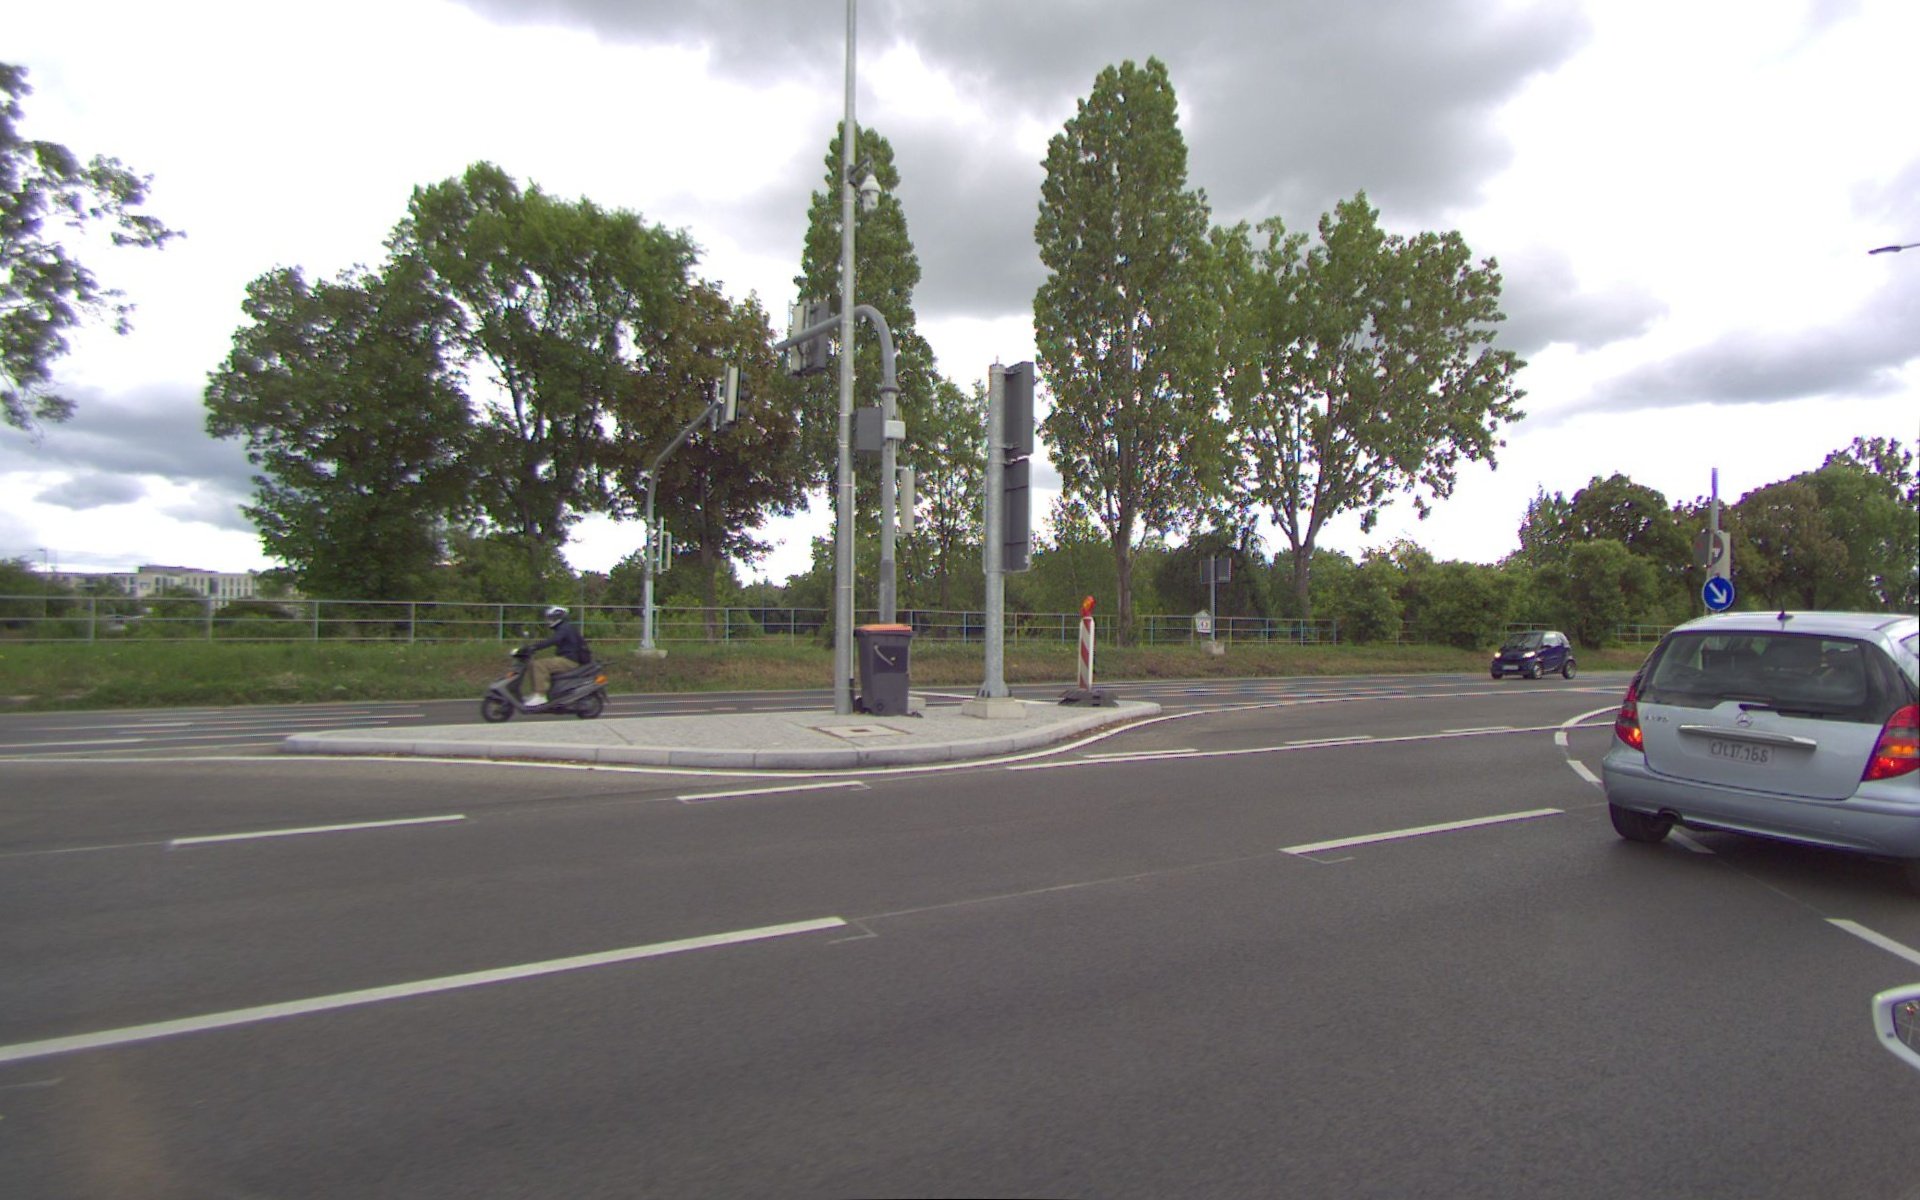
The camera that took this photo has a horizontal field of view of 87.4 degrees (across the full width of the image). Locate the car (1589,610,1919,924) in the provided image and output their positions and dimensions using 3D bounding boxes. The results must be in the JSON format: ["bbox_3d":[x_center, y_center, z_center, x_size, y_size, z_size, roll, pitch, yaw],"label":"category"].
[{"bbox_3d":[6.203,0.875,6.790,3.954,1.550,1.701,1,1,-31],"label":"car"}]

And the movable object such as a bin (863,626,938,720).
[{"bbox_3d":[-0.722,0.859,12.099,0.732,1.073,0.538,0,1,-31],"label":"movable object such as a bin"}]

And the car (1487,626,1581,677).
[{"bbox_3d":[18.490,1.627,32.372,2.705,1.482,1.465,1,1,-31],"label":"car"}]

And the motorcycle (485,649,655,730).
[{"bbox_3d":[-5.529,1.232,14.270,2.138,1.002,0.908,1,1,-31],"label":"motorcycle"}]

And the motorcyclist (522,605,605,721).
[{"bbox_3d":[-5.617,0.860,14.224,0.969,1.542,0.908,-1,2,-30],"label":"motorcyclist"}]

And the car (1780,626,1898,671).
[{"bbox_3d":[33.488,1.815,38.251,4.748,1.513,1.983,1,1,-31],"label":"car"}]
